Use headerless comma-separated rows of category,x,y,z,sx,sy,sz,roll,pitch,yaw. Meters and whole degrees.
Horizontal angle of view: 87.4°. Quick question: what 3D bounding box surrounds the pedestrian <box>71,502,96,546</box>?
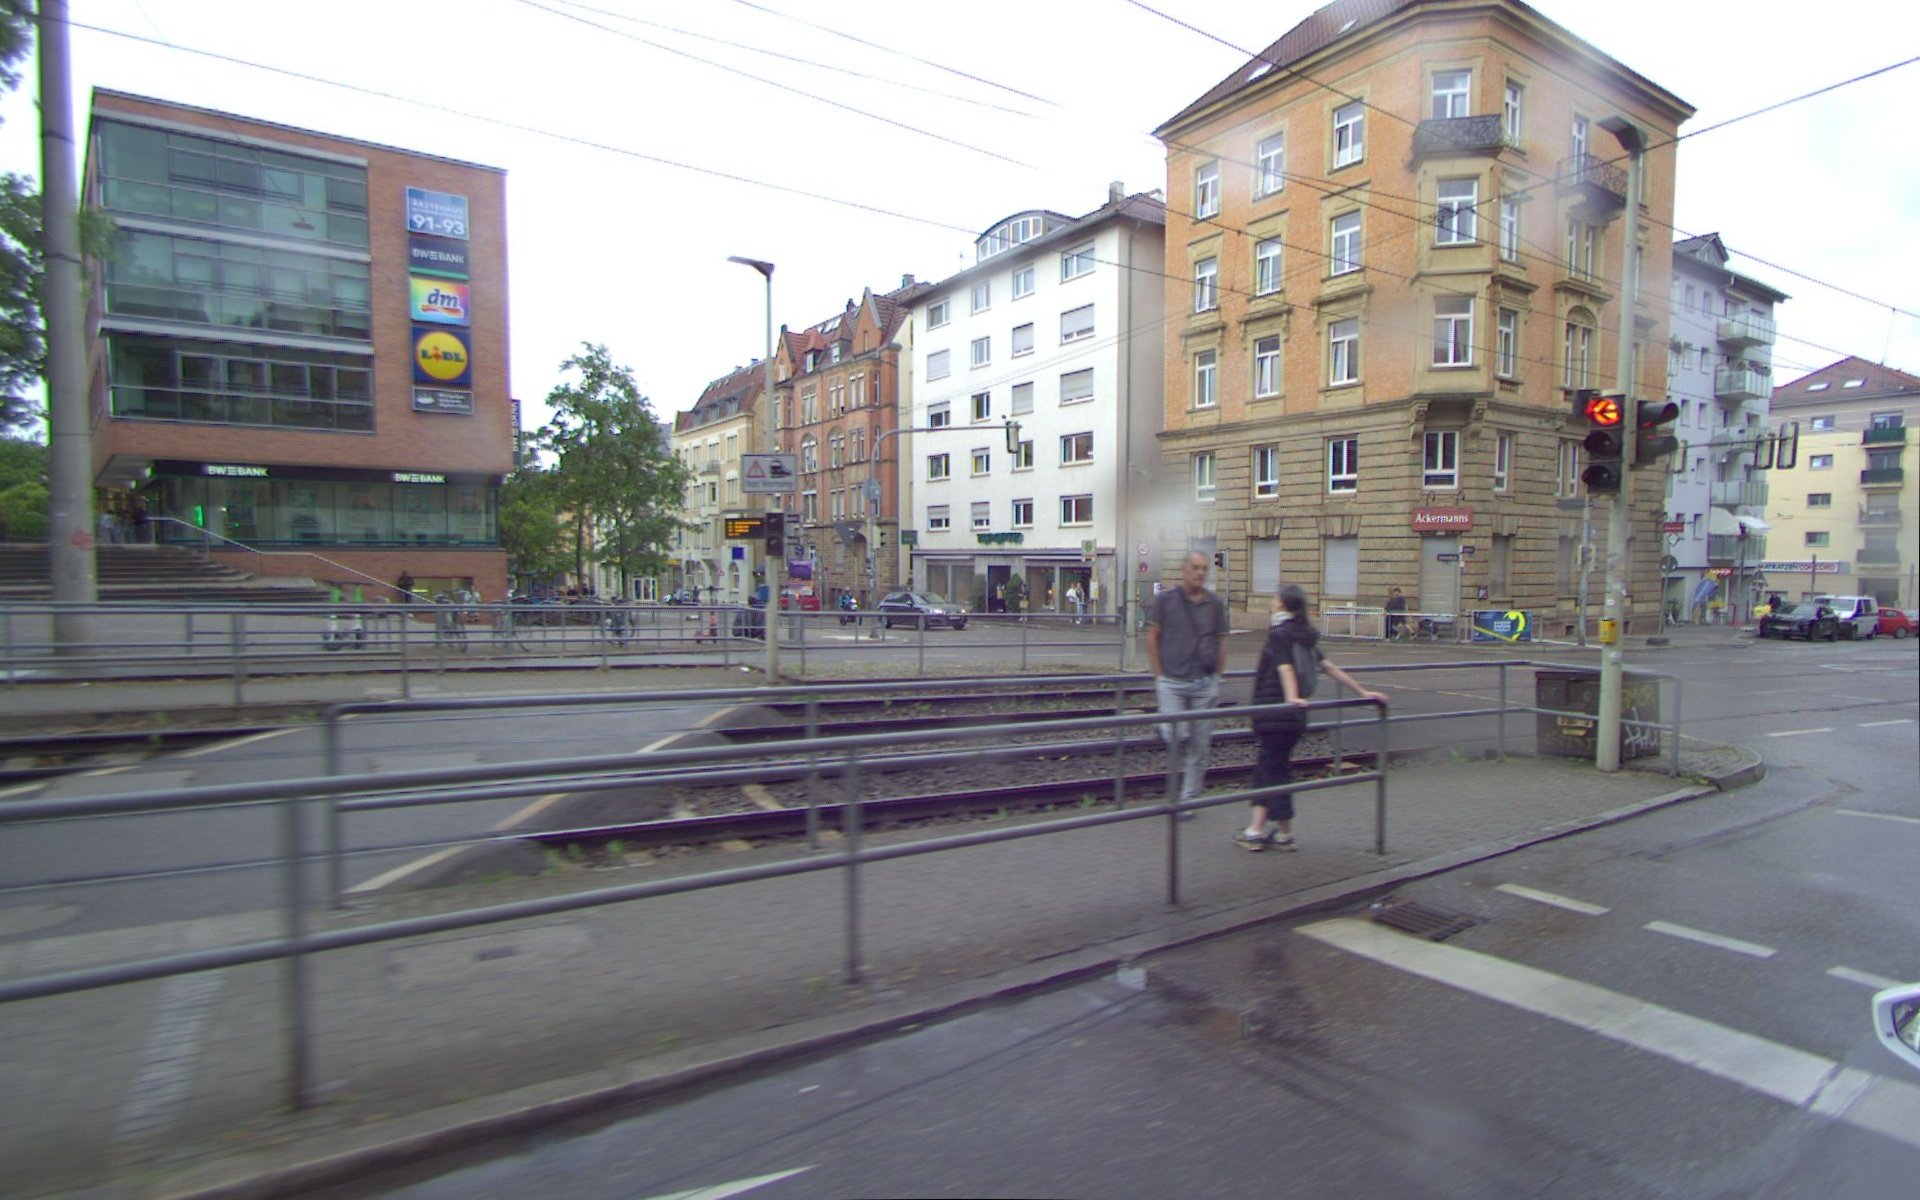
pedestrian,-36.314,-3.141,41.618,0.639,1.753,0.724,3,2,43

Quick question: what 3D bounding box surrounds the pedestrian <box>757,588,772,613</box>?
pedestrian,-14.547,0.044,74.717,0.806,1.861,0.762,0,1,-35

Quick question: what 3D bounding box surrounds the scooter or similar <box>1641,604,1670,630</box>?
scooter or similar,33.308,0.815,48.129,0.314,1.225,1.078,1,-2,-44

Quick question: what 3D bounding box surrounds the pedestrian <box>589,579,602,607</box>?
pedestrian,-21.753,-0.409,59.958,0.593,1.651,0.567,0,2,-35

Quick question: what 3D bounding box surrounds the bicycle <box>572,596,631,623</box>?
bicycle,-15.562,0.413,43.641,2.349,1.116,0.691,0,2,-42

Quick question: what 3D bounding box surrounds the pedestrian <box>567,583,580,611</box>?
pedestrian,-23.233,-0.205,60.377,0.567,1.651,0.482,1,2,-34

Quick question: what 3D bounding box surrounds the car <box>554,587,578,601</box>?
car,-40.748,-0.640,103.859,1.618,1.310,3.966,1,2,-31

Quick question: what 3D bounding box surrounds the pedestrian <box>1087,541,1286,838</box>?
pedestrian,1.520,0.547,6.773,0.992,1.823,0.819,1,1,-36

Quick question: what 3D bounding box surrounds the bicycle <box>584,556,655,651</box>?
bicycle,-6.776,0.039,19.914,0.552,1.720,2.072,2,3,-40

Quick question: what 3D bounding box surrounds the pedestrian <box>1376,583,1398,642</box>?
pedestrian,13.285,0.370,31.241,0.616,1.791,0.639,-1,3,25

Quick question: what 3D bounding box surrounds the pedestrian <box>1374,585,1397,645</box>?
pedestrian,13.285,0.461,31.379,0.615,1.864,0.640,1,1,23

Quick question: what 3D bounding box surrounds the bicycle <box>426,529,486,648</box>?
bicycle,-9.108,-0.235,18.107,0.514,2.041,1.874,1,2,-40

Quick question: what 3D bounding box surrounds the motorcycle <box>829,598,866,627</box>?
motorcycle,-4.868,0.515,43.274,0.857,1.174,1.835,1,1,-32

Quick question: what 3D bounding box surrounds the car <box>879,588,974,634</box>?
car,-1.341,0.391,38.476,1.823,1.688,3.961,1,0,-34

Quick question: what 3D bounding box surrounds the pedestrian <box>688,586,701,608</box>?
pedestrian,-23.230,-0.249,87.883,0.806,1.861,0.762,1,1,-35

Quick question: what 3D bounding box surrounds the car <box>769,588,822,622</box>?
car,-9.338,0.265,56.793,1.618,1.603,3.966,1,3,-31

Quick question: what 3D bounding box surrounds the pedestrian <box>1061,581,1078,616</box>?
pedestrian,4.987,-0.067,45.793,0.492,1.557,0.528,0,2,-30

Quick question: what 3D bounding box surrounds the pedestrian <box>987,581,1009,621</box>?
pedestrian,1.962,0.041,51.637,0.759,2.041,0.859,1,1,-29

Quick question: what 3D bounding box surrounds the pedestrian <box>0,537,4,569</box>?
pedestrian,-47.221,-2.310,48.816,0.715,1.551,0.855,1,1,-8

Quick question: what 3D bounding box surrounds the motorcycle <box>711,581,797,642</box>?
motorcycle,-4.970,0.249,24.101,0.859,1.389,2.628,1,1,-40

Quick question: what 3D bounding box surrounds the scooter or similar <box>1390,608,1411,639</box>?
scooter or similar,13.911,0.728,31.718,0.545,0.958,0.577,2,1,25

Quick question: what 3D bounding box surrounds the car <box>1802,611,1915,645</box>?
car,44.341,1.353,49.616,3.904,1.453,1.785,2,1,0

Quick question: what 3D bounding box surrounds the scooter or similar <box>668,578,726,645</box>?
scooter or similar,-5.814,0.232,22.155,1.484,1.389,0.451,3,2,40

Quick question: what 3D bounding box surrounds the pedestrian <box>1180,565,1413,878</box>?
pedestrian,1.948,0.628,5.836,0.992,1.626,0.829,1,1,-36

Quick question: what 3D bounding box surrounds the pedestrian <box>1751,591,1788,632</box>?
pedestrian,39.406,0.543,48.914,1.169,1.955,1.161,0,2,-42

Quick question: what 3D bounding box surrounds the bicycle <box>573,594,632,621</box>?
bicycle,-15.918,0.335,44.750,2.341,1.116,0.845,1,2,-32

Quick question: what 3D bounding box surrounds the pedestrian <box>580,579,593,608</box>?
pedestrian,-22.024,-0.379,59.297,0.569,1.651,0.567,0,2,-35

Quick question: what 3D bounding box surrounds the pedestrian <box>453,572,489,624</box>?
pedestrian,-16.871,-0.072,34.664,0.998,1.753,0.890,1,1,-34

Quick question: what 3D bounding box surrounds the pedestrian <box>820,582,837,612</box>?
pedestrian,-8.210,-0.207,62.747,0.806,1.861,0.762,1,1,-35

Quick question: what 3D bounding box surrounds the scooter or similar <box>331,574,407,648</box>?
scooter or similar,-10.232,0.169,17.363,1.690,1.210,0.477,2,1,36

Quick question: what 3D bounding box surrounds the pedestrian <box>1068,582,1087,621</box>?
pedestrian,5.236,0.061,44.919,0.588,1.690,0.598,1,1,-24

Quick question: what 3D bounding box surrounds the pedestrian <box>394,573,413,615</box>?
pedestrian,-21.211,-0.226,38.282,0.586,1.587,0.515,1,2,-36

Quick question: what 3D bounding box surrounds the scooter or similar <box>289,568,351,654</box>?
scooter or similar,-10.901,0.164,17.093,1.484,1.389,0.451,3,2,40

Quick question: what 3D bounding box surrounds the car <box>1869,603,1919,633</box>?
car,49.494,0.949,52.639,4.028,1.471,1.644,1,1,-32

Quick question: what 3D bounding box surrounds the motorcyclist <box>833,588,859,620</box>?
motorcyclist,-4.933,0.165,43.387,0.833,1.320,0.807,1,1,-33

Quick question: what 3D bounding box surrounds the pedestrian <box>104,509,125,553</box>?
pedestrian,-34.309,-2.795,40.776,0.643,1.753,0.611,0,2,-41

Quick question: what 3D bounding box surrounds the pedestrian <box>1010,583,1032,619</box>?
pedestrian,2.944,0.035,48.544,0.660,1.692,0.826,1,2,-30

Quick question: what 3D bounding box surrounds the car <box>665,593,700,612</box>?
car,-21.446,0.183,77.570,1.618,1.310,3.965,1,2,-31

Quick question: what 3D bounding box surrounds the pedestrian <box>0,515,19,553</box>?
pedestrian,-39.886,-2.756,41.872,0.702,1.571,0.626,2,1,2

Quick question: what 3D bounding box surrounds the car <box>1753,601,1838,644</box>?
car,35.824,0.953,43.043,4.320,1.673,1.721,1,2,-35

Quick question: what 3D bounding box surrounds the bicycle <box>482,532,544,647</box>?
bicycle,-8.375,-0.223,18.776,0.514,2.041,1.874,1,2,-40

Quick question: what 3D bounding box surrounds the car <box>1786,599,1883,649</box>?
car,40.666,1.062,46.653,5.248,2.036,2.056,0,4,-35
